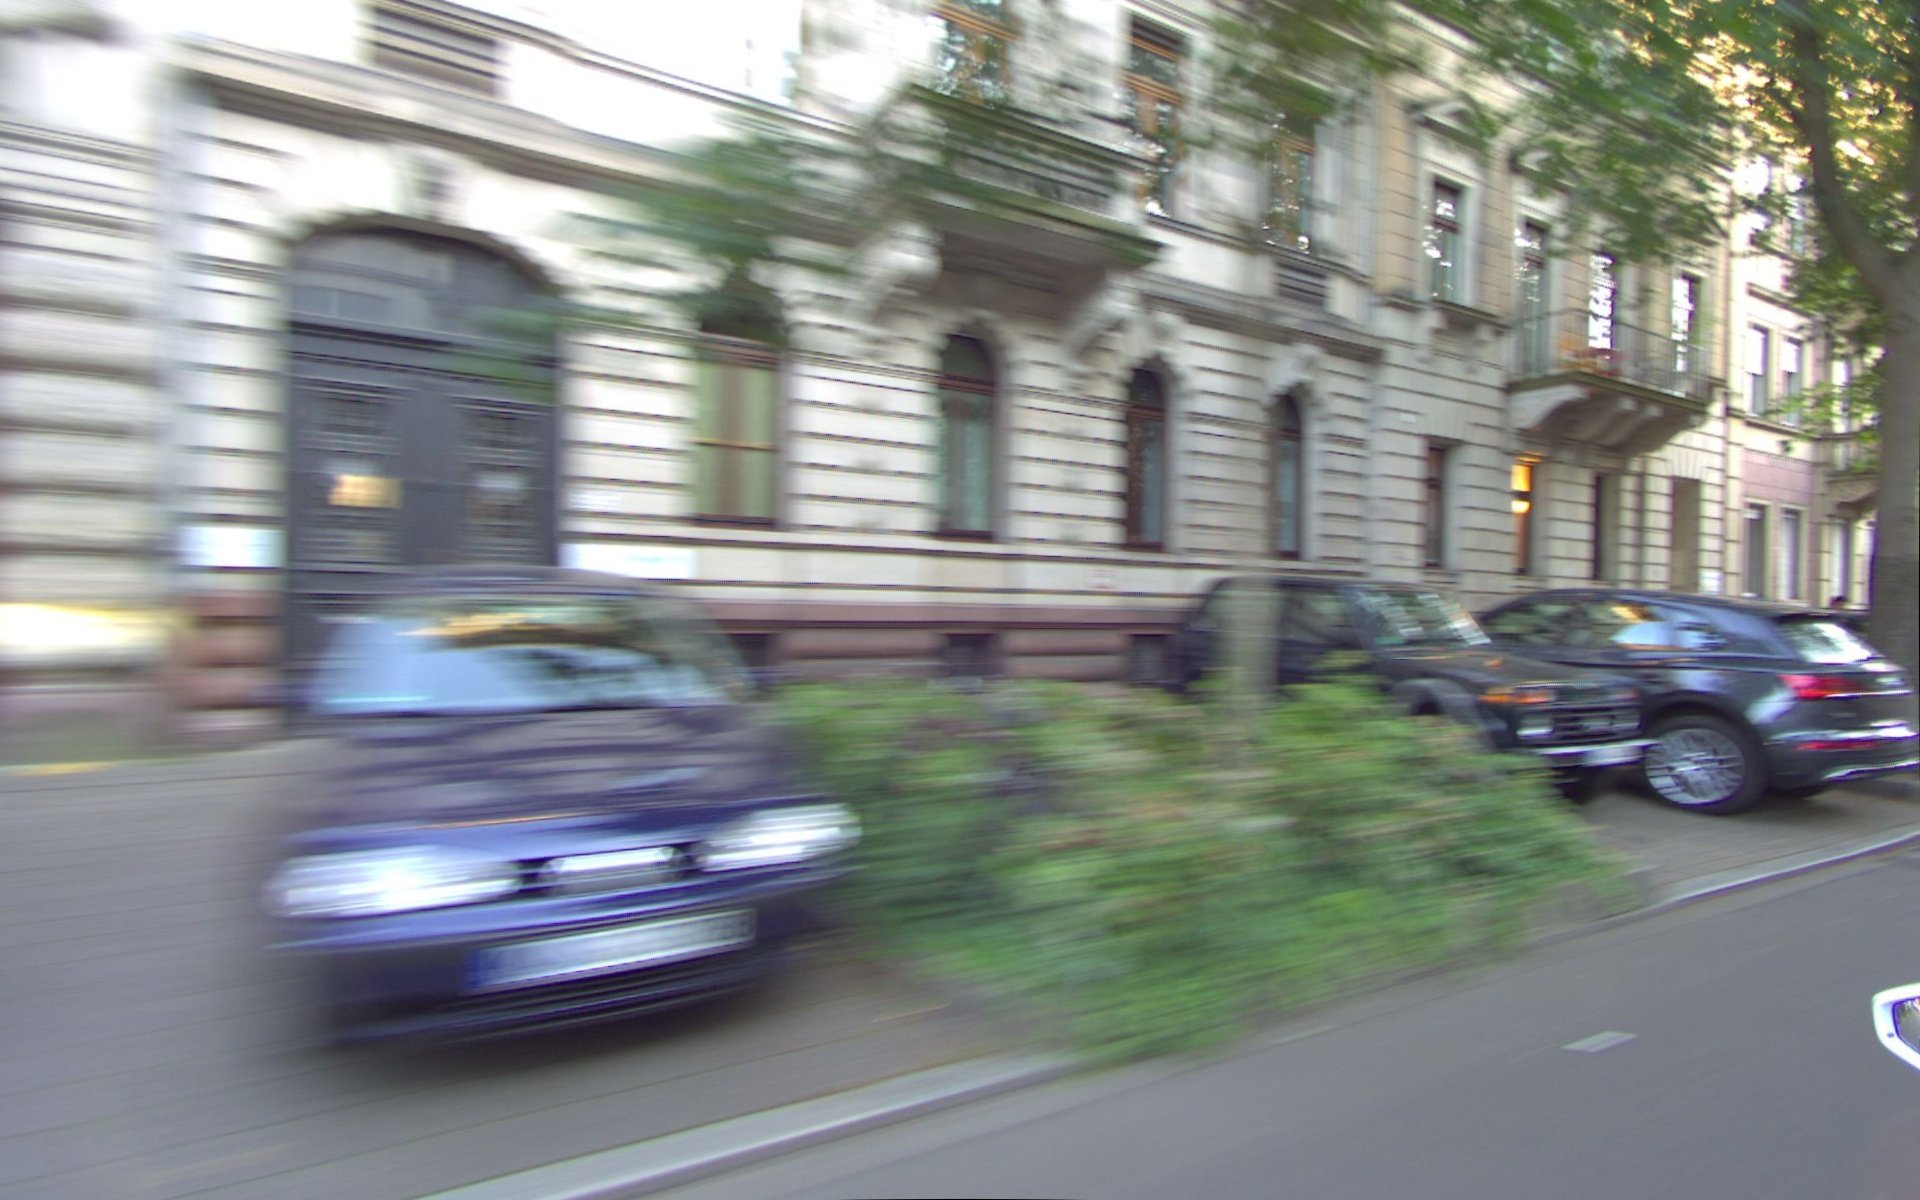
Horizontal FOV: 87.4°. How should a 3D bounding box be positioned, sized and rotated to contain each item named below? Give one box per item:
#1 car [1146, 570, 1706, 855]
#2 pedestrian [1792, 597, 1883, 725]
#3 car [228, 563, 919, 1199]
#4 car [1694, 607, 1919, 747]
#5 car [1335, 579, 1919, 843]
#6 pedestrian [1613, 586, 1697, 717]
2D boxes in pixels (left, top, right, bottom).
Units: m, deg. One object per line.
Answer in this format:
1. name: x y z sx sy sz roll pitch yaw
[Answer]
1. car: 3.433 0.638 8.110 1.695 1.694 3.780 0 2 -31
2. pedestrian: 12.549 0.849 14.371 0.662 1.762 0.732 1 1 -24
3. car: -1.858 0.613 4.444 1.743 1.406 3.946 0 3 -29
4. car: 11.661 0.927 12.268 1.886 1.553 3.925 2 0 -31
5. car: 5.702 0.708 8.942 1.885 1.694 4.180 0 2 -30
6. pedestrian: 9.670 0.695 13.991 0.727 1.762 0.666 1 1 -28
